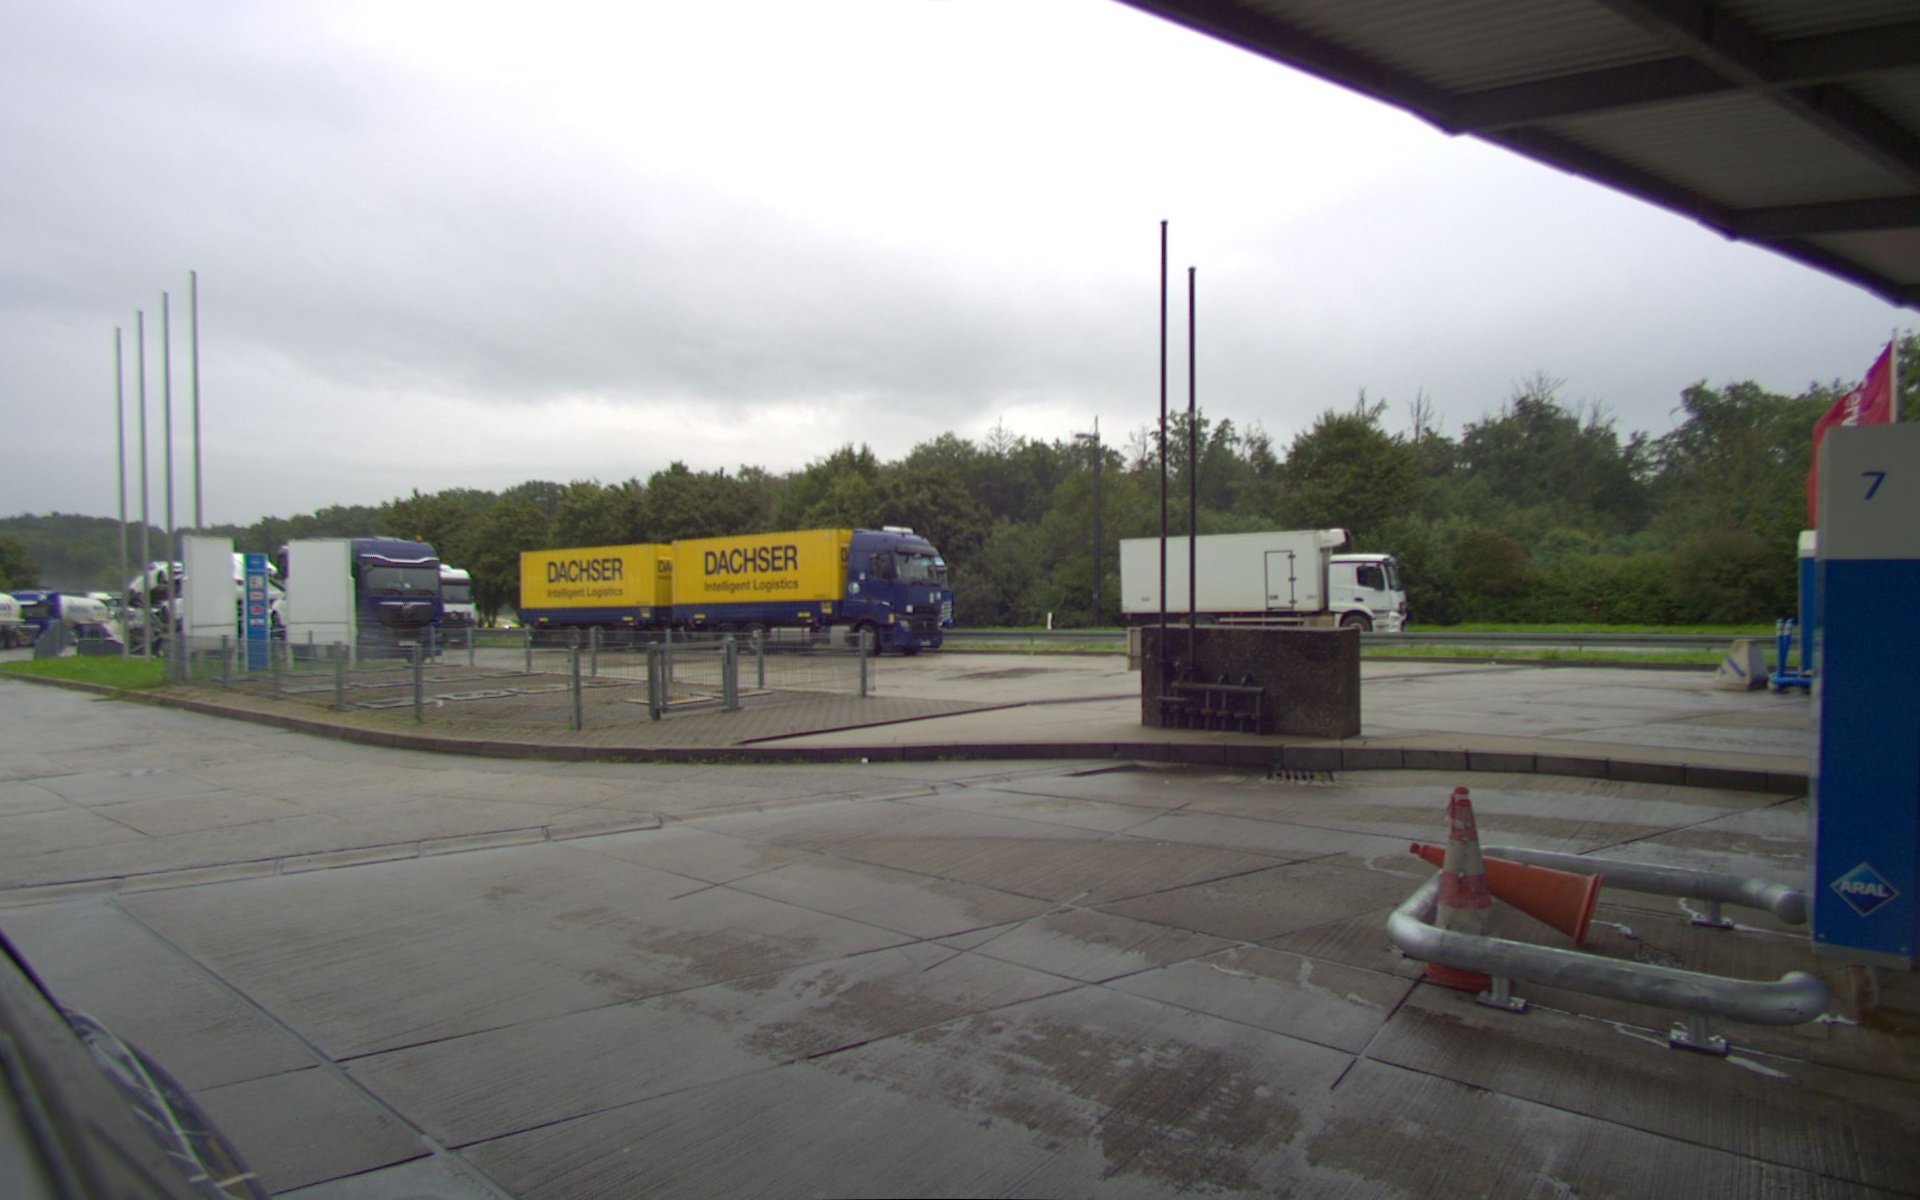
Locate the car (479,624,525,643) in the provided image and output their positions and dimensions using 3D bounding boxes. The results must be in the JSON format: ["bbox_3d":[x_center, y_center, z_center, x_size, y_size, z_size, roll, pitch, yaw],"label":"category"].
[{"bbox_3d":[-43.664,3.160,96.471,3.977,1.772,1.875,-1,0,25],"label":"car"}]

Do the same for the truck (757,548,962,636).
[{"bbox_3d":[-4.888,-0.312,47.654,10.195,3.836,2.395,-1,0,31],"label":"truck"}]

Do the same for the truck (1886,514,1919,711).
[{"bbox_3d":[14.987,0.125,11.967,5.859,2.513,2.208,-1,0,41],"label":"truck"}]

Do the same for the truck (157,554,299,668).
[{"bbox_3d":[-26.115,0.398,36.083,4.738,3.800,2.635,-1,0,34],"label":"truck"}]

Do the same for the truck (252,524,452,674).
[{"bbox_3d":[-19.017,0.013,31.487,7.089,4.213,2.635,-1,0,35],"label":"truck"}]

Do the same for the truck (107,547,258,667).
[{"bbox_3d":[-29.597,0.302,38.455,6.605,4.213,2.635,-1,0,35],"label":"truck"}]

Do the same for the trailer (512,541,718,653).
[{"bbox_3d":[-13.507,-0.071,39.268,8.679,3.946,2.728,-1,0,32],"label":"trailer"}]

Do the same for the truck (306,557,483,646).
[{"bbox_3d":[-27.328,0.107,48.637,10.654,3.946,2.727,-1,0,33],"label":"truck"}]

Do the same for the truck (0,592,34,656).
[{"bbox_3d":[-55.165,1.342,53.696,3.454,3.633,14.444,-1,-1,-19],"label":"truck"}]

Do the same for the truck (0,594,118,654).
[{"bbox_3d":[-61.505,1.626,68.662,3.454,3.633,14.709,-1,-1,-27],"label":"truck"}]

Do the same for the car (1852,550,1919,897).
[{"bbox_3d":[6.905,0.543,3.811,5.269,1.620,1.842,-1,0,41],"label":"car"}]

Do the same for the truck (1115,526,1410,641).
[{"bbox_3d":[10.961,-0.516,37.461,10.195,3.836,2.395,-1,0,31],"label":"truck"}]

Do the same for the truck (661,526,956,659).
[{"bbox_3d":[-5.345,-0.176,34.039,10.654,3.946,2.727,-1,0,33],"label":"truck"}]

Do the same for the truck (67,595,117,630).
[{"bbox_3d":[-131.201,1.930,152.947,11.498,5.160,3.109,-1,0,36],"label":"truck"}]
